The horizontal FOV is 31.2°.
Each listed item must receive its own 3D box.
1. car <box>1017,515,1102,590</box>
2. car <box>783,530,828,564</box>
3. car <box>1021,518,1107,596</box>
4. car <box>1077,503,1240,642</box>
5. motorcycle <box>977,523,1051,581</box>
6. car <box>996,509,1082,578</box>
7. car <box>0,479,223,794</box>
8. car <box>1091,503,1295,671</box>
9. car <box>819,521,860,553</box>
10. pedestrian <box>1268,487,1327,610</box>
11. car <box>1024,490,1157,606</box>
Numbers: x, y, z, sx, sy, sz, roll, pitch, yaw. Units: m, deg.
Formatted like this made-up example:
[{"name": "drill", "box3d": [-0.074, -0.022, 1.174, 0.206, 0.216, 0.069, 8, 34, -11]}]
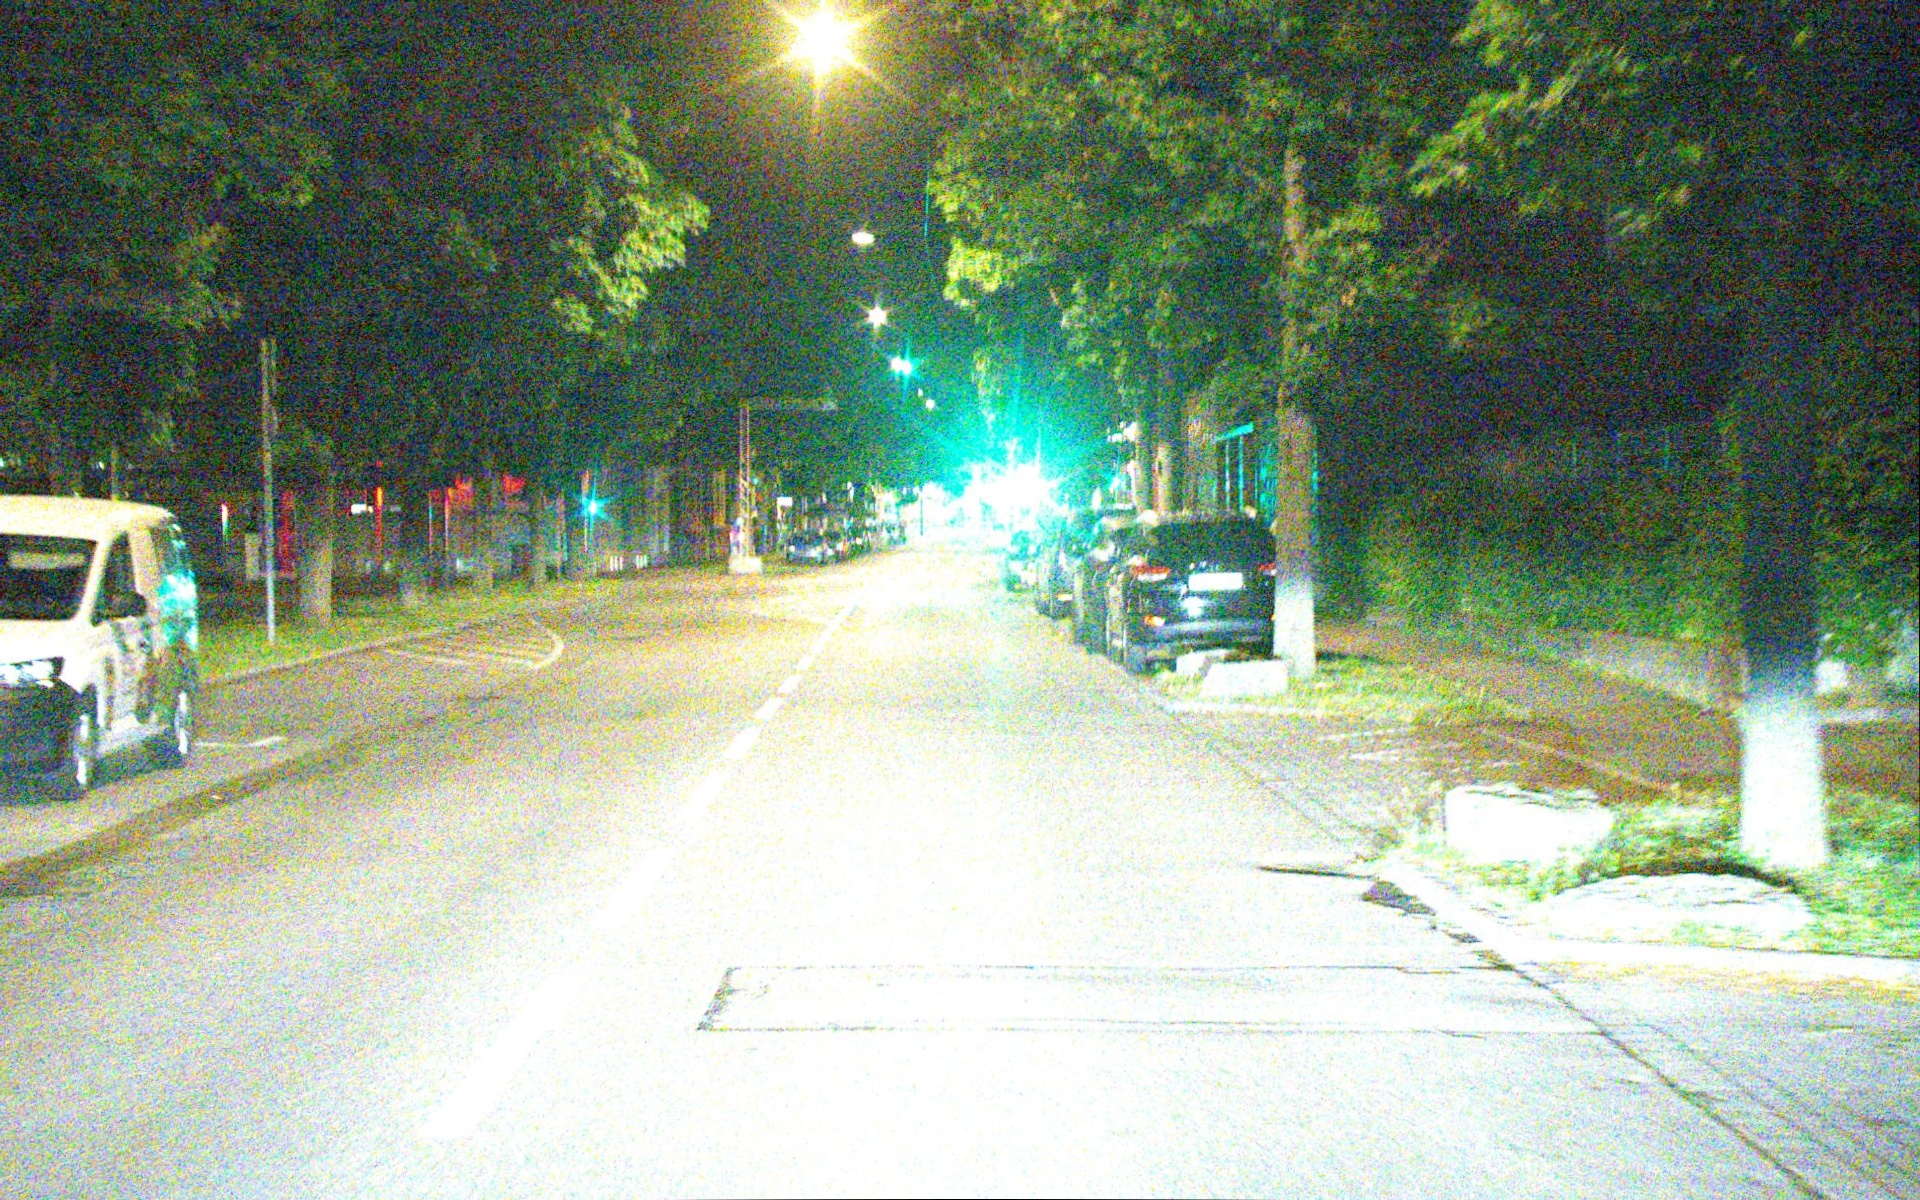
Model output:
[{"name": "car", "box3d": [2.116, -1.045, 73.843, 1.591, 1.529, 4.138, -2, 1, -1]}, {"name": "car", "box3d": [-6.485, -2.247, 144.641, 1.740, 1.411, 3.752, 0, 1, 0]}, {"name": "car", "box3d": [1.946, -0.834, 65.159, 1.520, 1.391, 3.984, -1, 1, 0]}, {"name": "car", "box3d": [2.404, -0.387, 42.588, 1.853, 1.599, 4.209, -1, 2, 1]}, {"name": "motorcycle", "box3d": [1.220, -1.082, 77.203, 0.637, 1.265, 2.060, 1, 1, 34]}, {"name": "car", "box3d": [1.836, -1.357, 81.132, 1.853, 1.584, 4.301, 0, 1, -1]}, {"name": "car", "box3d": [-6.118, 0.135, 21.971, 1.822, 1.805, 4.210, 2, 1, 0]}, {"name": "car", "box3d": [2.441, -0.178, 36.884, 1.853, 1.648, 4.209, -2, 1, 0]}, {"name": "car", "box3d": [-5.574, -2.927, 159.341, 1.740, 1.411, 3.752, 0, 2, 0]}, {"name": "pedestrian", "box3d": [4.758, -0.728, 48.523, 0.705, 1.716, 0.821, -1, 1, 0]}, {"name": "car", "box3d": [2.131, -0.875, 57.069, 1.771, 1.800, 4.278, -2, 1, -3]}]
